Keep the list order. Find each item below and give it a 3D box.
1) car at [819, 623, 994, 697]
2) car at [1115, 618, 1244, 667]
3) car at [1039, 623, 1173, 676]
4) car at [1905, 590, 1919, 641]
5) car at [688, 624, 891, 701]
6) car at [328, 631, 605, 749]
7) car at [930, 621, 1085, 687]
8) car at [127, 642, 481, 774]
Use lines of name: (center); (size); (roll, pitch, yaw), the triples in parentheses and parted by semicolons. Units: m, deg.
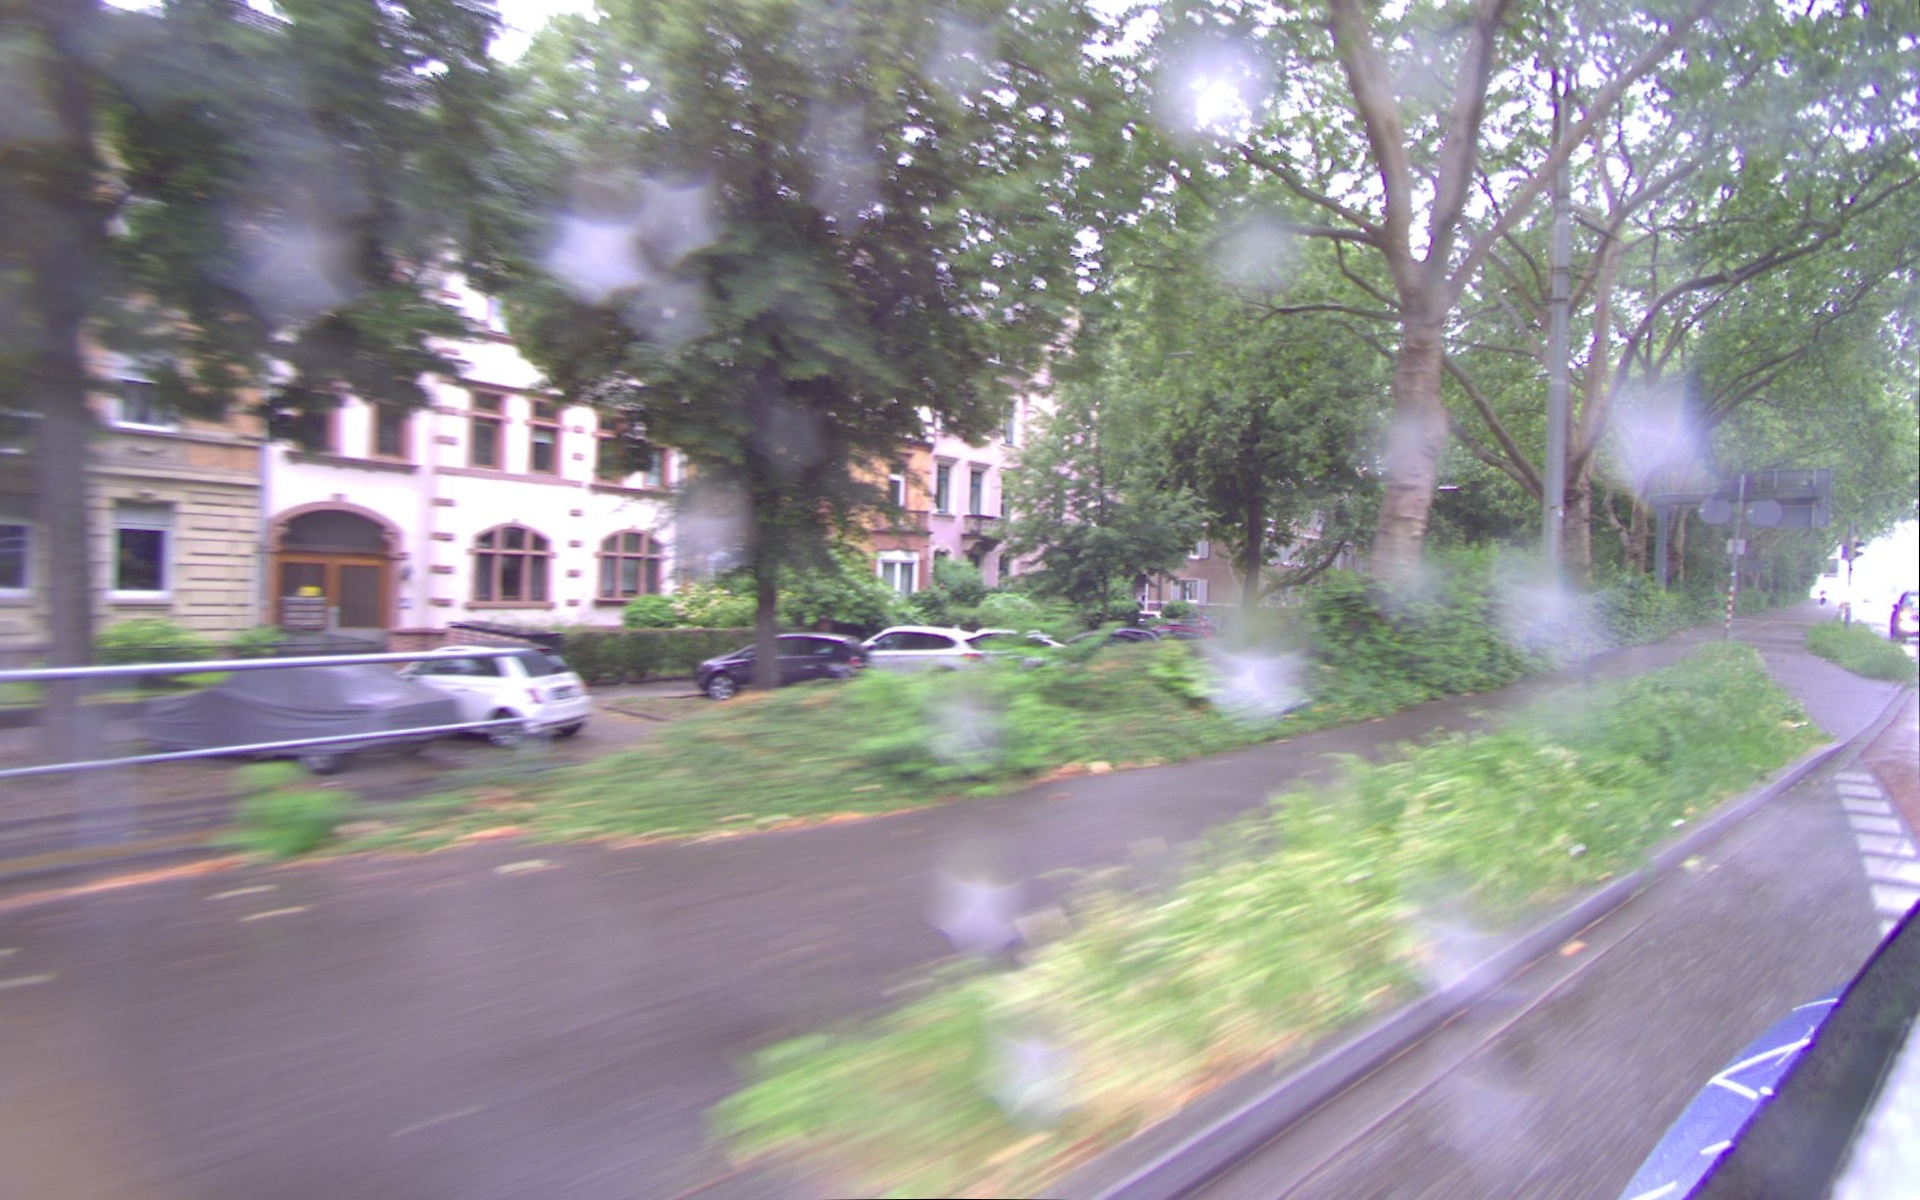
car: (-1.243, 1.392, 24.375); (3.936, 1.629, 1.820); (0, 0, 10)
car: (7.119, 1.368, 33.173); (3.931, 1.482, 1.834); (0, 0, 7)
car: (4.387, 1.486, 30.825); (3.931, 1.482, 1.909); (0, 0, 7)
car: (33.123, 0.501, 34.131); (1.751, 1.687, 3.622); (0, 0, 42)
car: (-3.651, 1.302, 21.989); (3.936, 1.482, 1.994); (0, 0, 10)
car: (-7.867, 1.366, 16.196); (3.945, 1.523, 1.650); (1, 2, 17)
car: (1.294, 1.393, 26.798); (3.931, 1.585, 1.997); (0, 0, 7)
car: (-8.923, 1.395, 13.857); (4.200, 1.397, 1.684); (1, 2, 14)
